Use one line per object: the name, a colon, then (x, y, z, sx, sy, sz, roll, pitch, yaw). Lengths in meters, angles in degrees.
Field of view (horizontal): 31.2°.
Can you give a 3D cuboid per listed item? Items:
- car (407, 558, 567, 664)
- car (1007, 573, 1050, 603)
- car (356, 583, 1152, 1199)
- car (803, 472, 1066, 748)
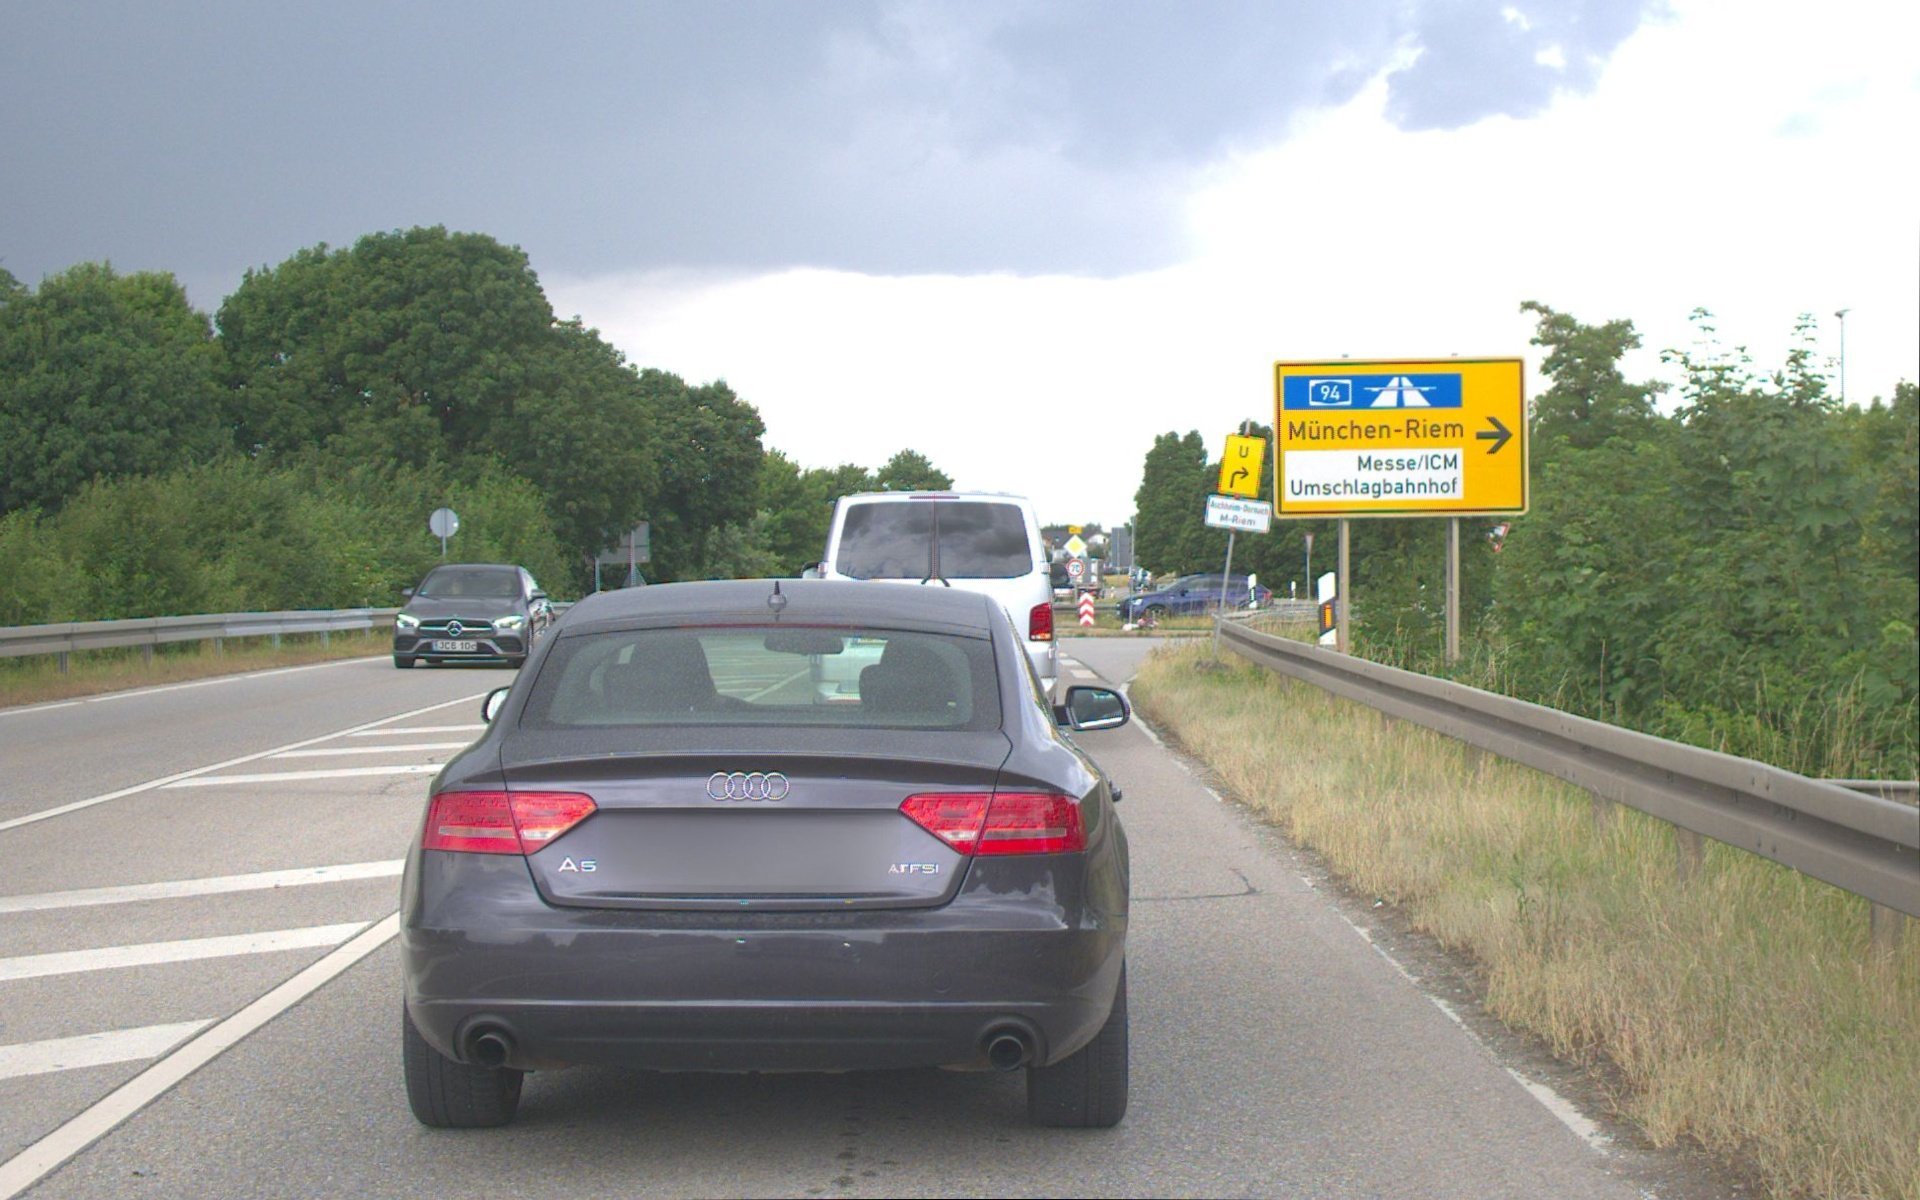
car: (-6.545, 0.119, 47.957, 1.622, 1.375, 4.512, 0, 1, 0)
car: (3.690, -0.669, 187.161, 2.205, 1.577, 4.379, 1, 1, 0)
car: (-0.481, 0.659, 9.367, 1.779, 1.394, 3.336, 0, 0, -1)
car: (-0.201, 0.042, 27.263, 1.910, 2.007, 4.000, 1, 1, 0)
